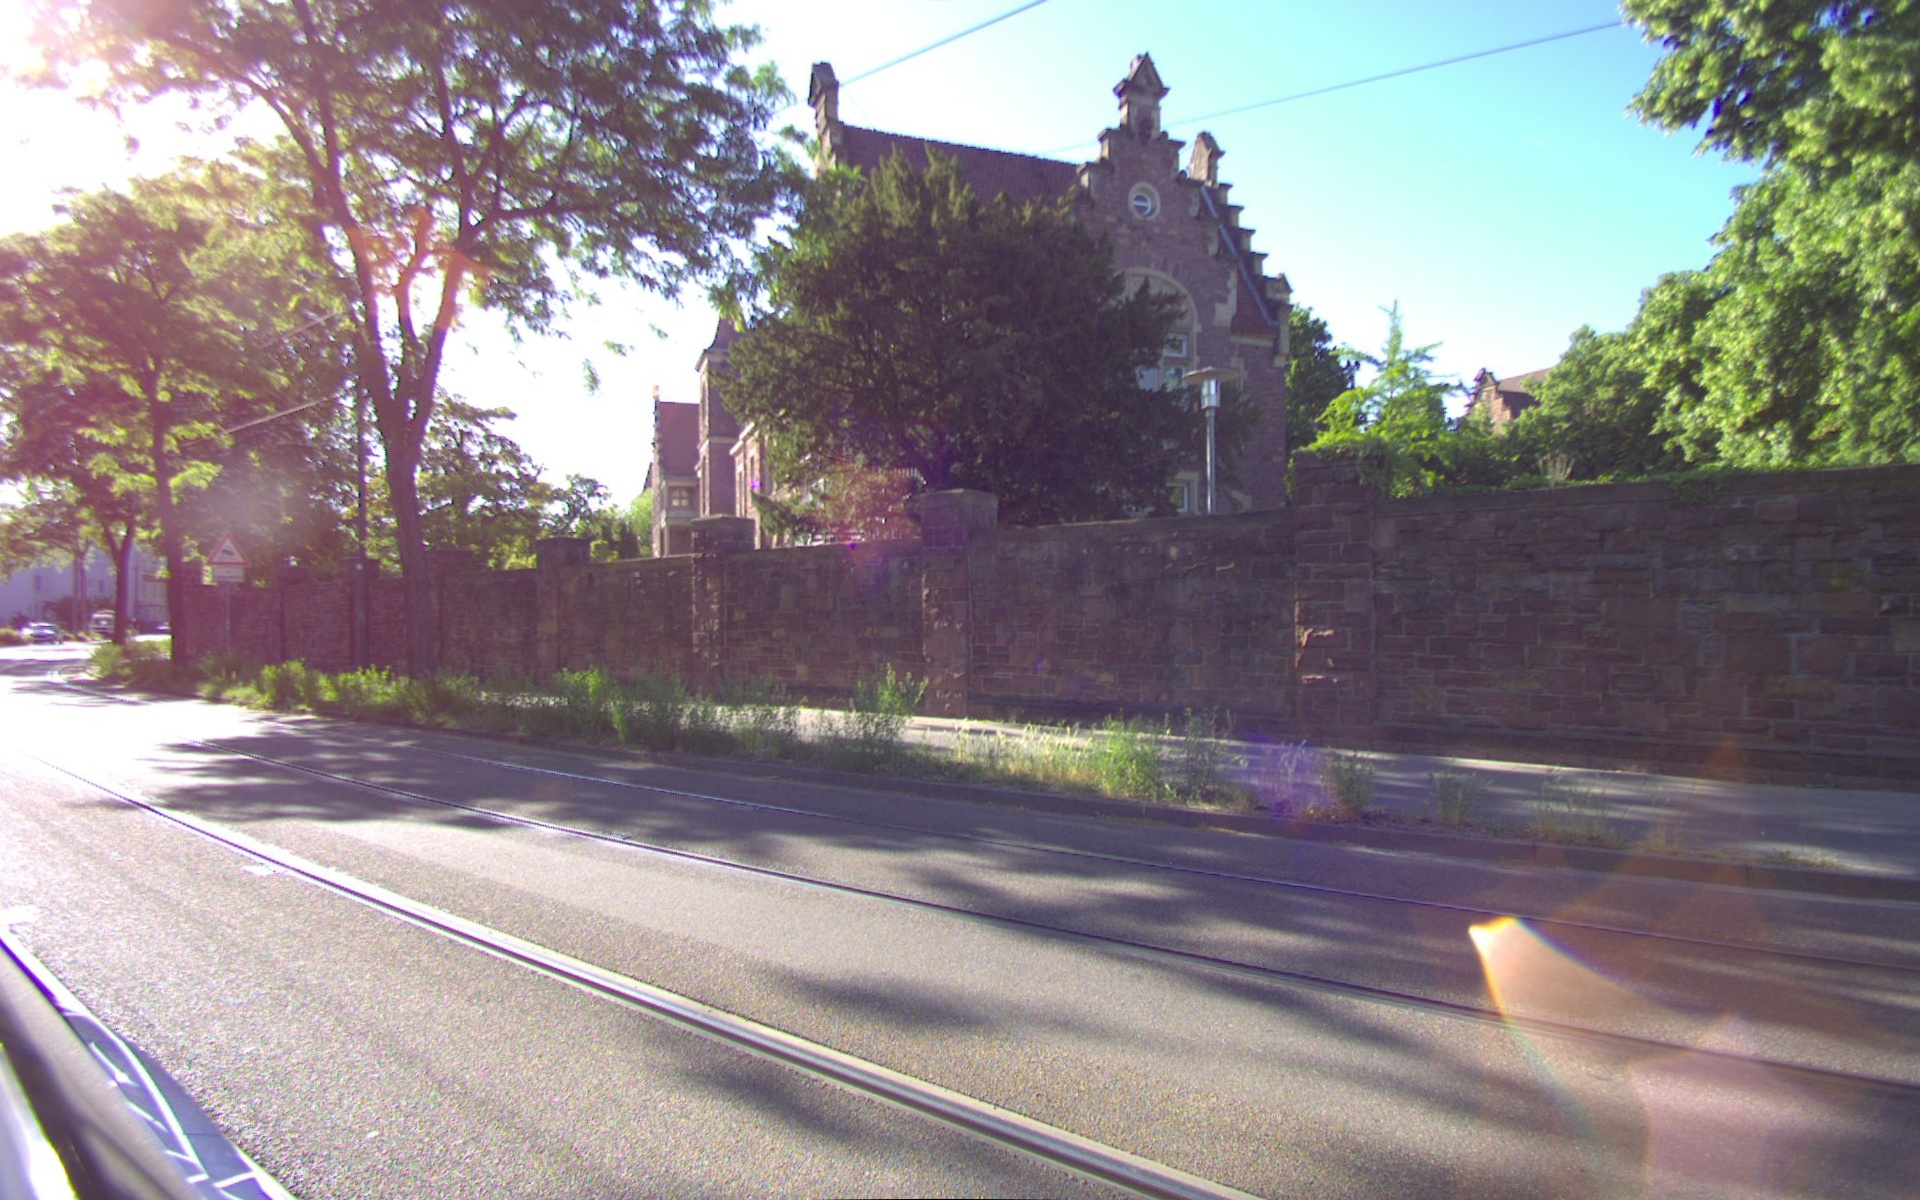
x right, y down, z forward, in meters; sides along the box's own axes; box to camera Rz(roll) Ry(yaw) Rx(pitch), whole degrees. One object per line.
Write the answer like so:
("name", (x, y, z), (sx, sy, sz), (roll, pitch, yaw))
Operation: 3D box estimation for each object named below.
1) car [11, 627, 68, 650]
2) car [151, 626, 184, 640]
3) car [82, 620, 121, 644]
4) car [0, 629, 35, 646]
("car", (-67.406, 2.791, 74.206), (1.973, 1.476, 5.449), (4, -3, -31))
("car", (-91.505, 3.842, 116.922), (1.713, 1.507, 4.544), (-1, -1, -21))
("car", (-76.464, 2.842, 90.204), (1.966, 2.111, 4.730), (0, -2, -32))
("car", (-89.283, 3.498, 94.266), (2.009, 1.501, 4.401), (3, 2, 42))
